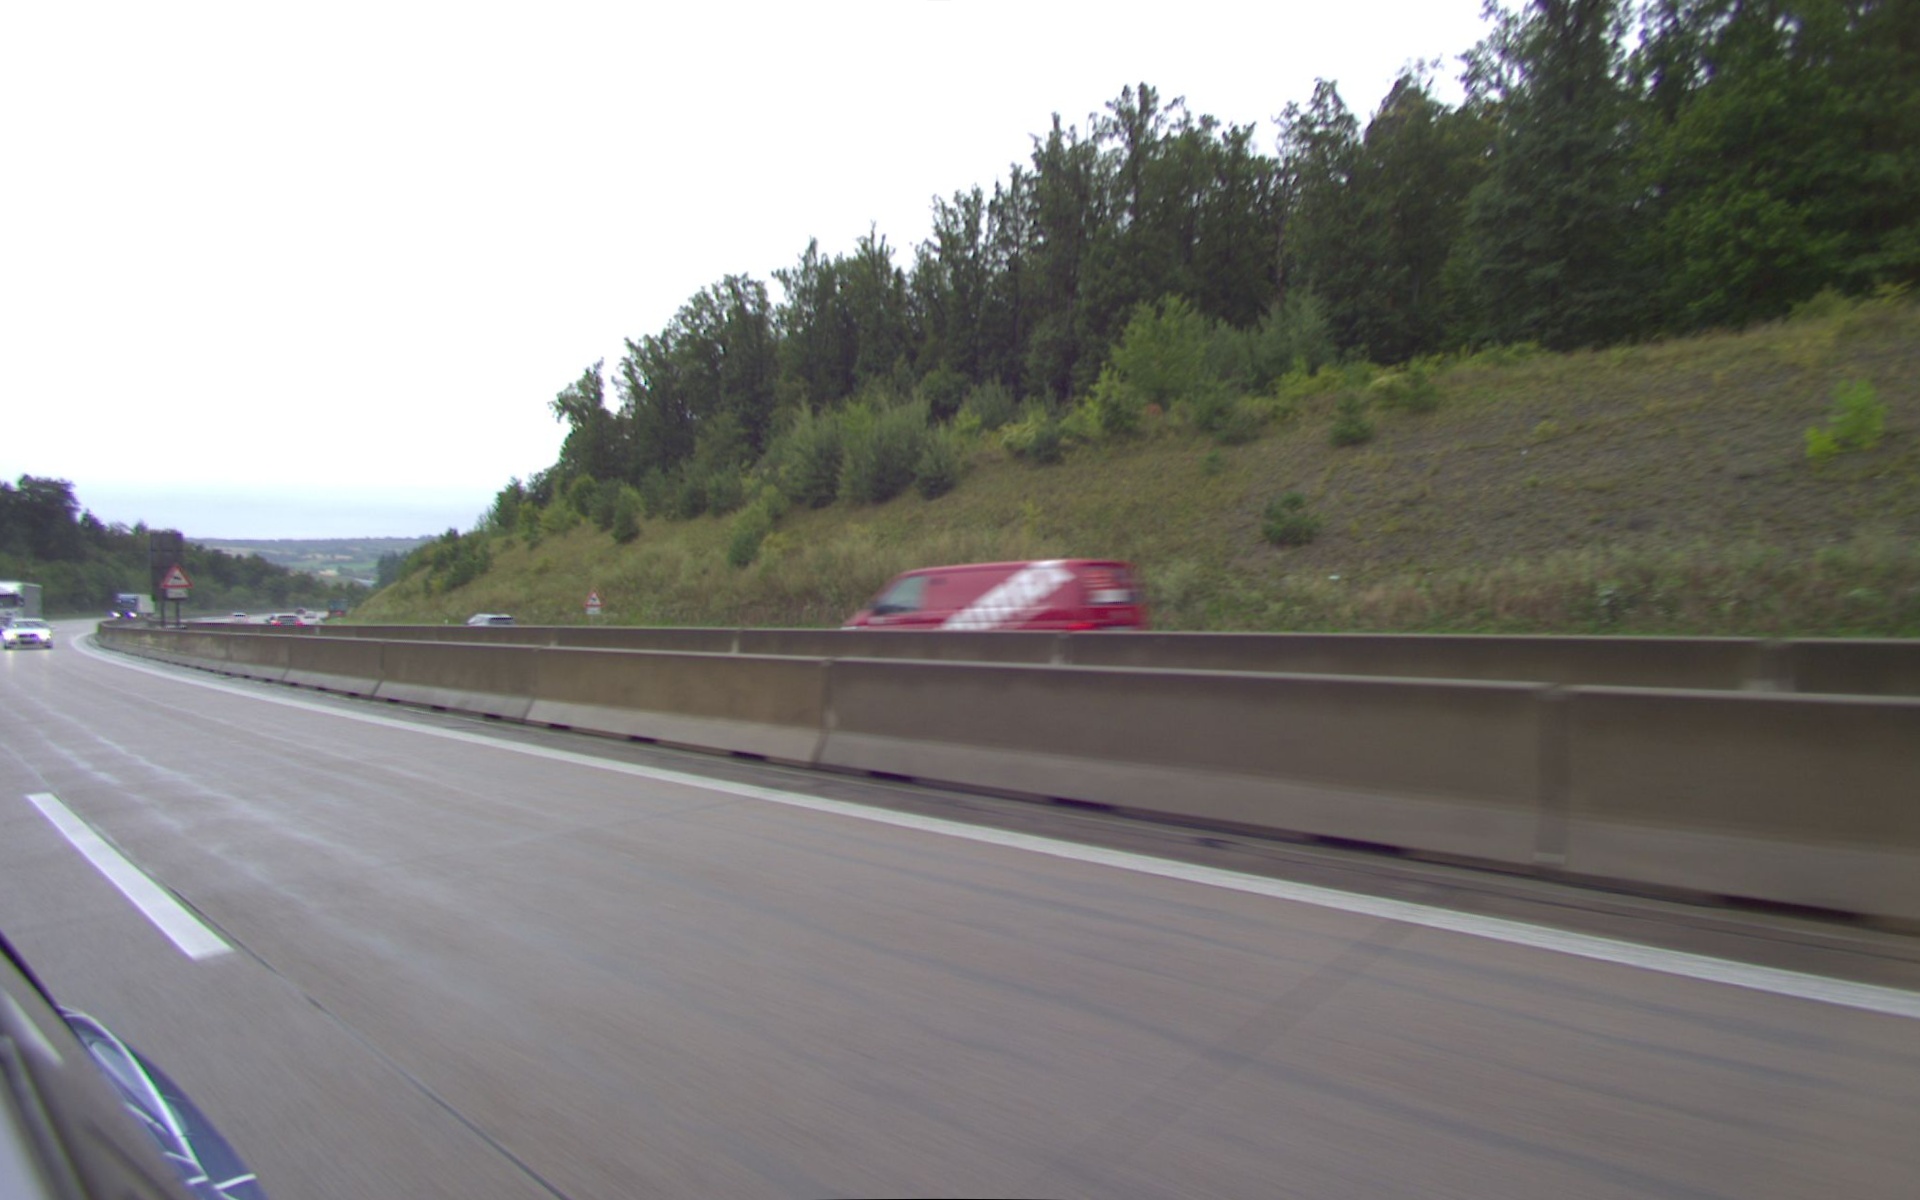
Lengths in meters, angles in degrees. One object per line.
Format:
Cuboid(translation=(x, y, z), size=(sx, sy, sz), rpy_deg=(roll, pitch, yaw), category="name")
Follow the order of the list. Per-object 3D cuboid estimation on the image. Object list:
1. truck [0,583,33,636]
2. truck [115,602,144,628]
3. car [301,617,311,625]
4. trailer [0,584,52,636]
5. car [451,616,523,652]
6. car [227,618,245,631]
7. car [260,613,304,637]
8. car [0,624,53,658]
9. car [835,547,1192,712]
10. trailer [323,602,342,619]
Cuboid(translation=(-75.964, 0.814, 80.372), size=(2.685, 4.071, 5.766), rpy_deg=(-2, 0, -36), category="truck")
Cuboid(translation=(-133.126, 2.417, 162.339), size=(2.693, 4.183, 8.644), rpy_deg=(0, -1, -33), category="truck")
Cuboid(translation=(-129.765, 4.146, 200.779), size=(1.707, 1.588, 4.255), rpy_deg=(1, -1, -34), category="car")
Cuboid(translation=(-80.018, 0.893, 85.973), size=(2.644, 4.071, 13.737), rpy_deg=(-2, 0, -36), category="trailer")
Cuboid(translation=(-23.182, 1.624, 49.567), size=(4.254, 1.651, 1.757), rpy_deg=(-1, -1, 43), category="car")
Cuboid(translation=(-86.376, 2.887, 120.710), size=(1.753, 1.529, 4.010), rpy_deg=(0, -1, -36), category="car")
Cuboid(translation=(-46.493, 1.691, 69.386), size=(1.756, 1.651, 4.002), rpy_deg=(1, -1, -45), category="car")
Cuboid(translation=(-44.712, 1.942, 48.411), size=(1.822, 1.494, 4.456), rpy_deg=(0, -1, -40), category="car")
Cuboid(translation=(0.634, 0.418, 15.343), size=(5.329, 2.098, 1.973), rpy_deg=(-1, -1, 41), category="car")
Cuboid(translation=(-143.217, 2.359, 230.999), size=(2.866, 3.918, 11.071), rpy_deg=(0, -1, -28), category="trailer")
